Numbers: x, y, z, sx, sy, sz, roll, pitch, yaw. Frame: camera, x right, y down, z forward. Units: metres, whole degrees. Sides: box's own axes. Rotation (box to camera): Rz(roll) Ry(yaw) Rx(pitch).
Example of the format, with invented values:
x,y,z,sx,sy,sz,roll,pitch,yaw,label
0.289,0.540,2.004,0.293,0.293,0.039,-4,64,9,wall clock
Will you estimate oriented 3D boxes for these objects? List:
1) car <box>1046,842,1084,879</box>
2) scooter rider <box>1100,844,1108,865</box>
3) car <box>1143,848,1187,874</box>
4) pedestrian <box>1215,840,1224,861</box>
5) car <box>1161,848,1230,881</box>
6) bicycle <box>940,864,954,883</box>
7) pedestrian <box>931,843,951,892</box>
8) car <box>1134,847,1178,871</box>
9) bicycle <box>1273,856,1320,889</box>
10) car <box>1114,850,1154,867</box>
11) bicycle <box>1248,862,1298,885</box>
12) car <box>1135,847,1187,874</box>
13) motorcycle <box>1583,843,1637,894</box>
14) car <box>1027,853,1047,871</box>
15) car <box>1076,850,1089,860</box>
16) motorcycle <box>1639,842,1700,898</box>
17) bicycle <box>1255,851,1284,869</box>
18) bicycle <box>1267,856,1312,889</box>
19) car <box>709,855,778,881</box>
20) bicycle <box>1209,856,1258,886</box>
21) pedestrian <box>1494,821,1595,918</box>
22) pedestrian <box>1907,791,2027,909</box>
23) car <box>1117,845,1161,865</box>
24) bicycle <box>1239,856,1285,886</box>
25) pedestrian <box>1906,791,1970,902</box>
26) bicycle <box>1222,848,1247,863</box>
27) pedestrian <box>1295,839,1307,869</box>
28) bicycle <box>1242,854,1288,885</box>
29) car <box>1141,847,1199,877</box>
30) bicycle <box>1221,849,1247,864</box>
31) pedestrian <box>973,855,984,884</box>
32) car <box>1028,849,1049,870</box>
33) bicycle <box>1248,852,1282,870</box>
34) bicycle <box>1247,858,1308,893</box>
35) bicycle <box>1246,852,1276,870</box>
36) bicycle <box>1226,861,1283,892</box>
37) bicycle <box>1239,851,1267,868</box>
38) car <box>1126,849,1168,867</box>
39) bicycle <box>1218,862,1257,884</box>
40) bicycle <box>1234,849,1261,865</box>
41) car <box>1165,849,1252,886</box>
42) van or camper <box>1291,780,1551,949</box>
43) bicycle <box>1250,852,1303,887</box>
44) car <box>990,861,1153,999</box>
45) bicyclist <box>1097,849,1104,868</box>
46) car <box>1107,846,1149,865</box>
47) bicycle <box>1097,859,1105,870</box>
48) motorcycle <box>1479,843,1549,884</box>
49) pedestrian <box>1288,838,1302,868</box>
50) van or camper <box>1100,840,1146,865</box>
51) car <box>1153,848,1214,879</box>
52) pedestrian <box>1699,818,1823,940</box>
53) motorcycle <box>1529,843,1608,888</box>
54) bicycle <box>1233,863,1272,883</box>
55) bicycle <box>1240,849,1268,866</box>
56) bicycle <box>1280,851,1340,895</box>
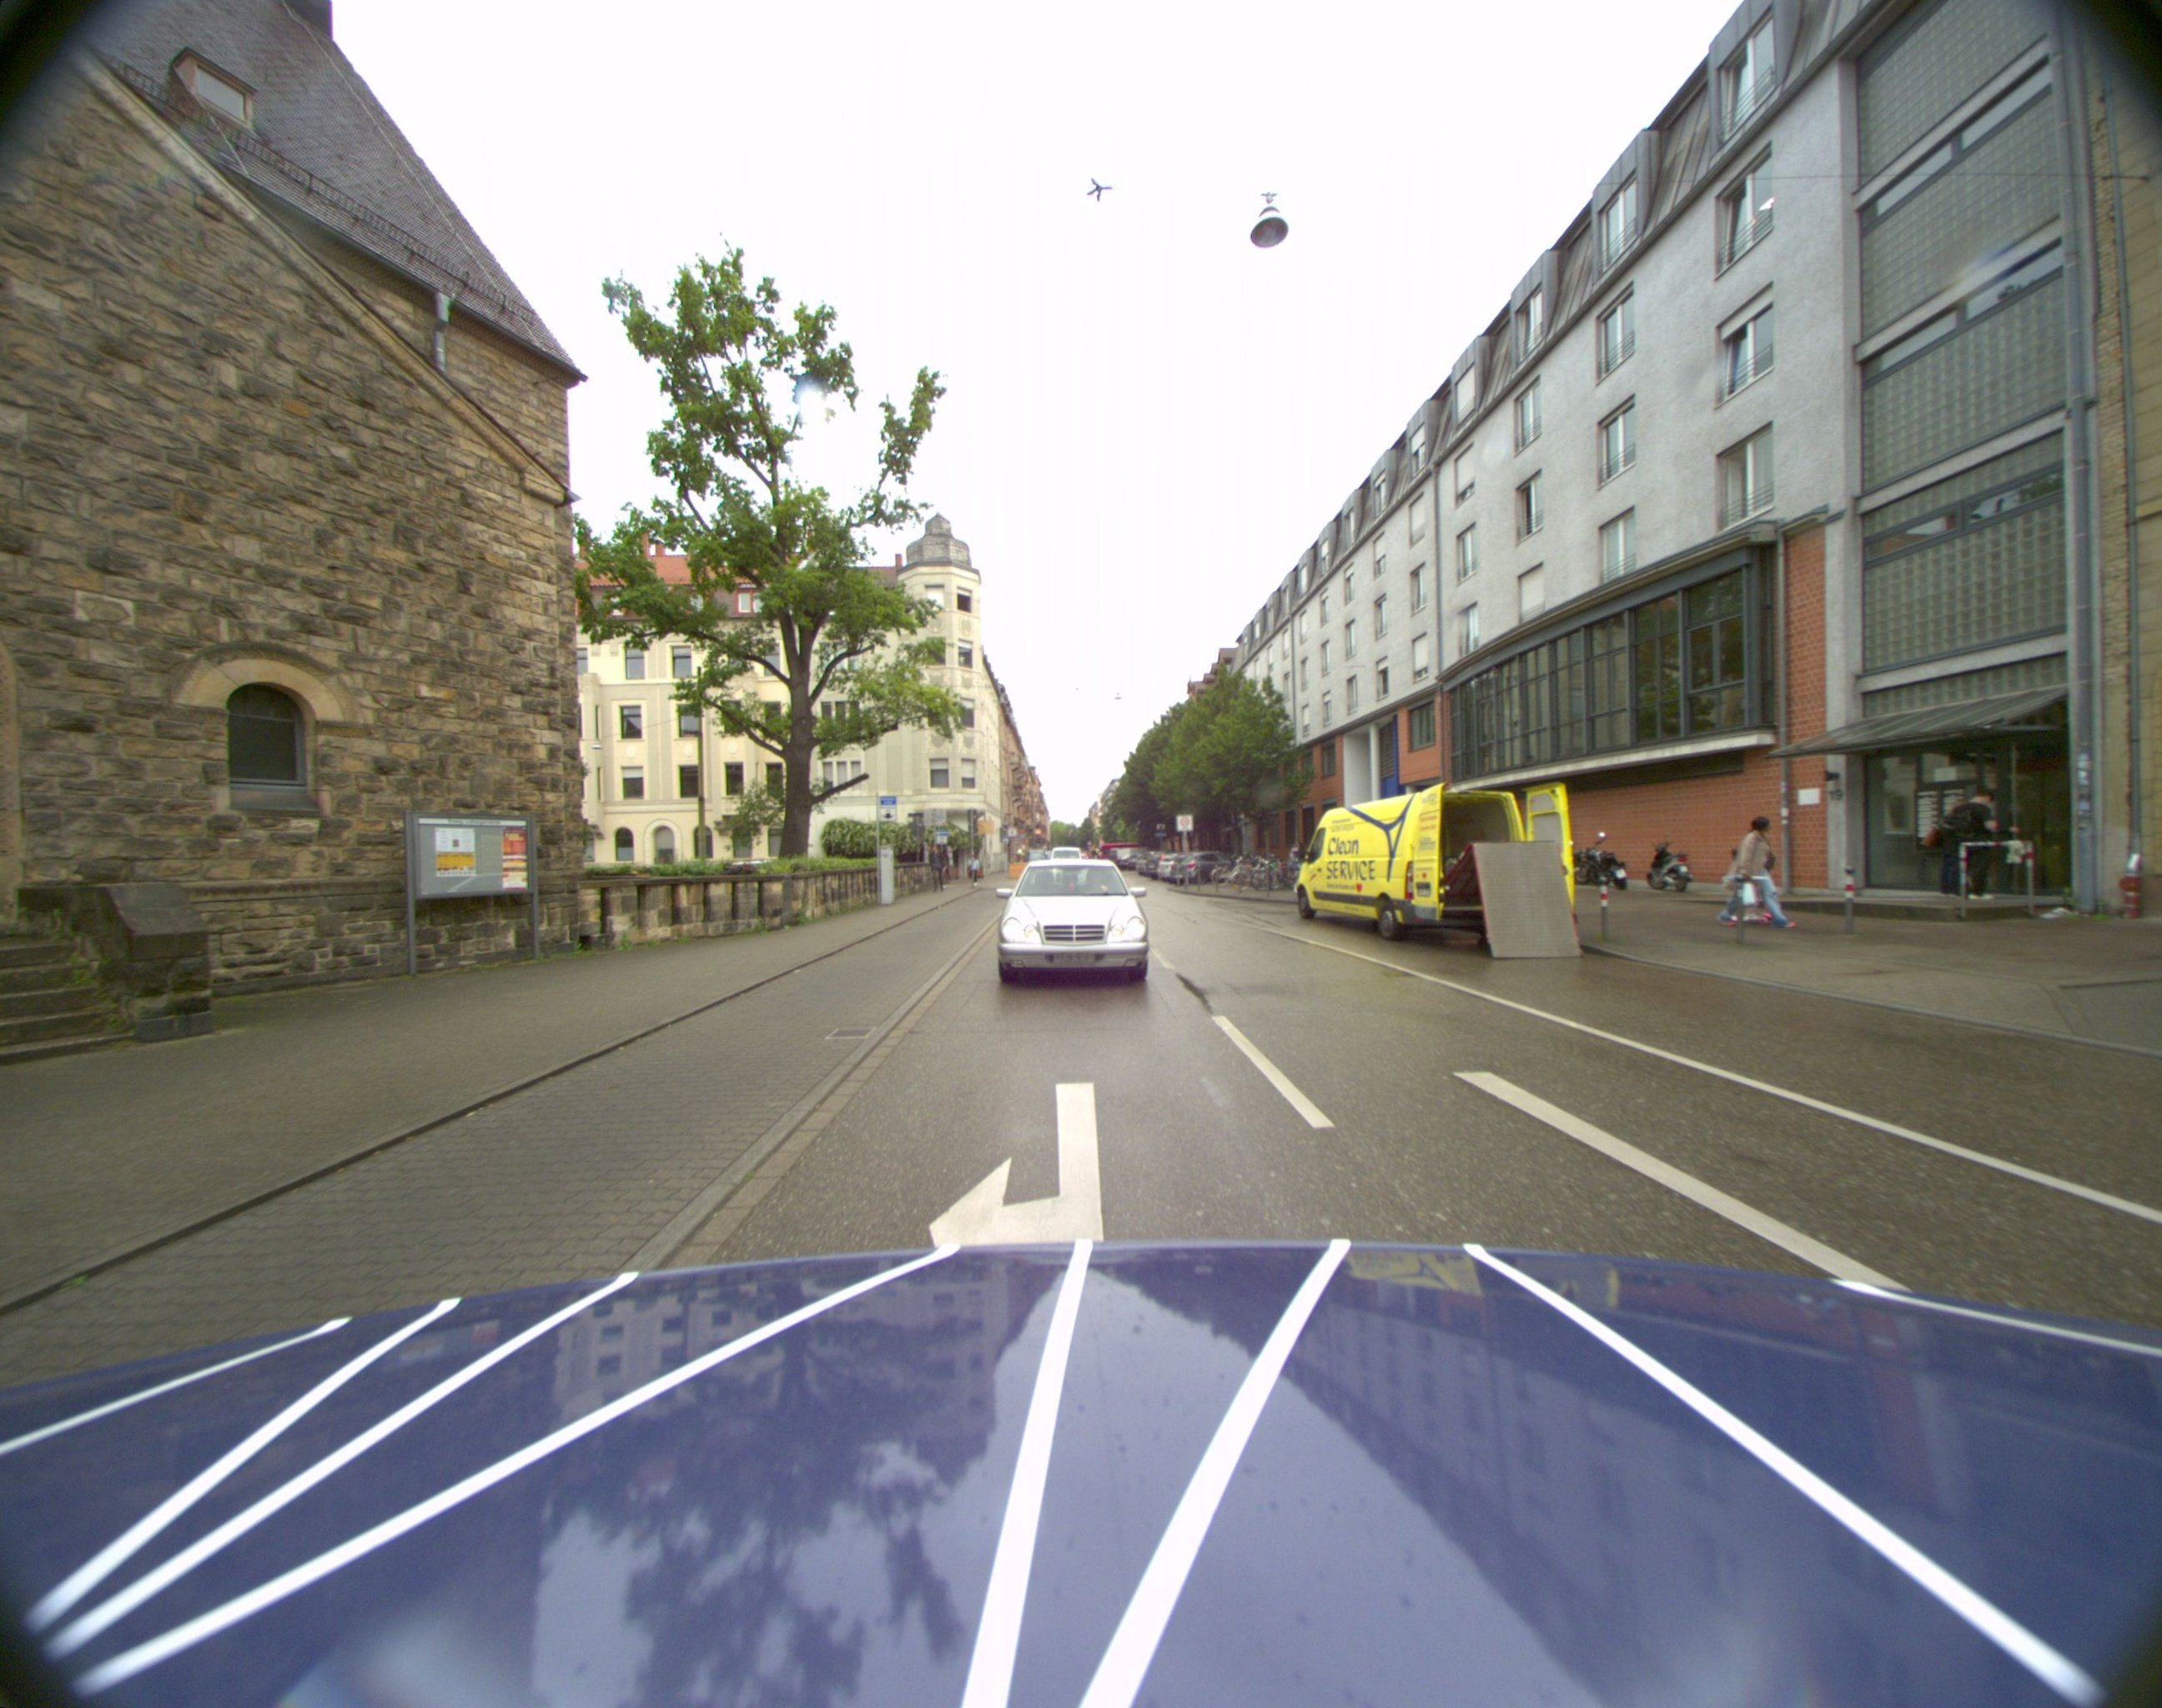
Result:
x,y,z,sx,sy,sz,roll,pitch,yaw,label
-0.861,0.346,43.530,1.998,2.002,3.999,-1,1,0,car
2.049,0.052,67.697,0.712,1.924,0.503,-1,1,-2,scooter rider
5.070,0.432,45.905,2.506,1.442,1.191,-3,1,-41,car
10.954,-0.272,60.215,0.571,1.588,0.533,-1,1,0,pedestrian
5.615,0.504,37.184,3.083,1.494,1.449,-3,1,-32,car
-7.537,1.090,42.773,0.390,0.888,2.023,-1,3,-1,bicycle
-5.420,0.504,29.401,0.646,1.862,0.693,0,1,-1,pedestrian
5.050,0.334,51.169,2.685,1.546,1.148,-3,1,-29,car
7.391,0.649,26.132,1.462,1.058,0.418,-2,1,3,bicycle
4.783,0.371,68.119,1.685,1.482,3.799,0,1,40,car
7.154,0.738,28.351,1.773,0.757,0.456,-3,1,-14,bicycle
5.100,0.406,48.413,2.985,1.546,1.369,-3,1,-29,car
13.030,0.332,18.770,0.524,1.174,2.006,-2,1,19,motorcycle
-3.577,0.639,61.724,1.447,1.348,3.203,0,0,-1,car
0.162,0.176,103.817,1.651,1.301,3.311,0,0,-3,car
13.188,0.335,17.068,0.524,1.174,1.760,-2,1,19,motorcycle
10.873,0.356,43.891,1.591,0.979,0.445,-1,1,-8,bicycle
7.374,0.659,26.908,1.461,1.096,0.462,-2,1,14,bicycle
-19.023,0.781,42.902,3.270,1.401,1.448,0,1,2,car
6.064,0.669,30.169,1.812,1.099,0.472,-3,1,-5,bicycle
9.370,0.308,15.411,1.353,1.835,1.061,-3,1,-1,pedestrian
13.545,-0.069,11.630,1.008,1.718,0.787,-1,1,-9,pedestrian
5.541,0.049,72.356,4.338,1.884,1.685,-1,1,-41,car
7.050,0.653,29.651,1.610,1.099,0.520,-3,1,-5,bicycle
13.857,-0.115,12.297,0.474,1.738,0.607,0,1,25,pedestrian
10.363,0.102,51.346,1.591,0.979,0.465,-1,1,-8,bicycle
11.566,0.006,39.961,0.513,1.601,0.426,-1,1,27,pedestrian
7.026,0.579,28.953,1.611,1.099,0.519,-3,1,-14,bicycle
5.022,0.441,42.673,3.084,1.543,1.448,-3,1,-41,car
9.942,0.149,49.313,1.591,0.979,0.465,-1,1,-8,bicycle
-5.237,0.773,38.807,0.482,1.452,0.392,0,1,-1,pedestrian
-3.703,0.450,66.640,1.726,1.794,3.461,0,1,-1,car
10.379,0.379,42.869,1.851,0.979,0.445,-1,1,-8,bicycle
6.621,0.722,25.652,1.858,1.067,0.609,-2,1,5,bicycle
10.253,0.372,43.342,1.591,0.979,0.445,-1,1,-8,bicycle
6.033,0.781,26.454,1.800,0.987,0.520,-3,1,-3,bicycle
10.232,0.333,45.257,1.591,0.979,0.445,-1,1,-8,bicycle
5.740,0.352,65.611,1.685,1.482,3.799,0,1,40,car
6.421,0.769,31.219,1.473,0.800,0.497,-3,1,2,bicycle
10.312,0.186,47.042,1.591,0.979,0.465,-1,1,-8,bicycle
5.763,0.575,34.261,3.629,1.494,1.736,-3,2,-32,car
6.094,0.141,14.743,2.202,2.596,5.940,0,0,-2,van or camper
7.148,0.547,27.760,1.815,1.187,0.519,-3,1,-14,bicycle
-0.120,0.857,10.384,1.764,1.420,3.999,-1,1,0,car
1.651,0.356,63.837,0.536,1.521,1.134,-1,1,-2,bicyclist
4.725,0.140,75.862,4.338,1.822,1.571,-1,1,-41,car
1.645,0.837,64.016,0.536,0.879,1.780,-1,1,-2,bicycle
13.202,0.267,23.257,0.838,1.150,2.273,-2,1,1,motorcycle
11.560,-0.033,41.042,0.604,1.601,0.373,0,1,34,pedestrian
4.504,-0.217,81.839,4.604,2.597,1.999,-1,1,-27,van or camper
5.405,0.492,39.791,3.084,1.494,1.448,-3,1,-41,car
10.278,0.357,11.535,0.787,1.718,1.172,-3,1,-2,pedestrian
13.380,0.302,20.948,0.651,1.150,2.204,-2,1,-2,motorcycle
6.914,0.761,30.683,1.473,0.717,0.497,-3,1,2,bicycle
10.438,0.206,45.878,1.591,0.979,0.445,-1,1,-8,bicycle
7.268,0.571,24.109,1.922,1.209,0.768,-5,4,-35,bicycle
